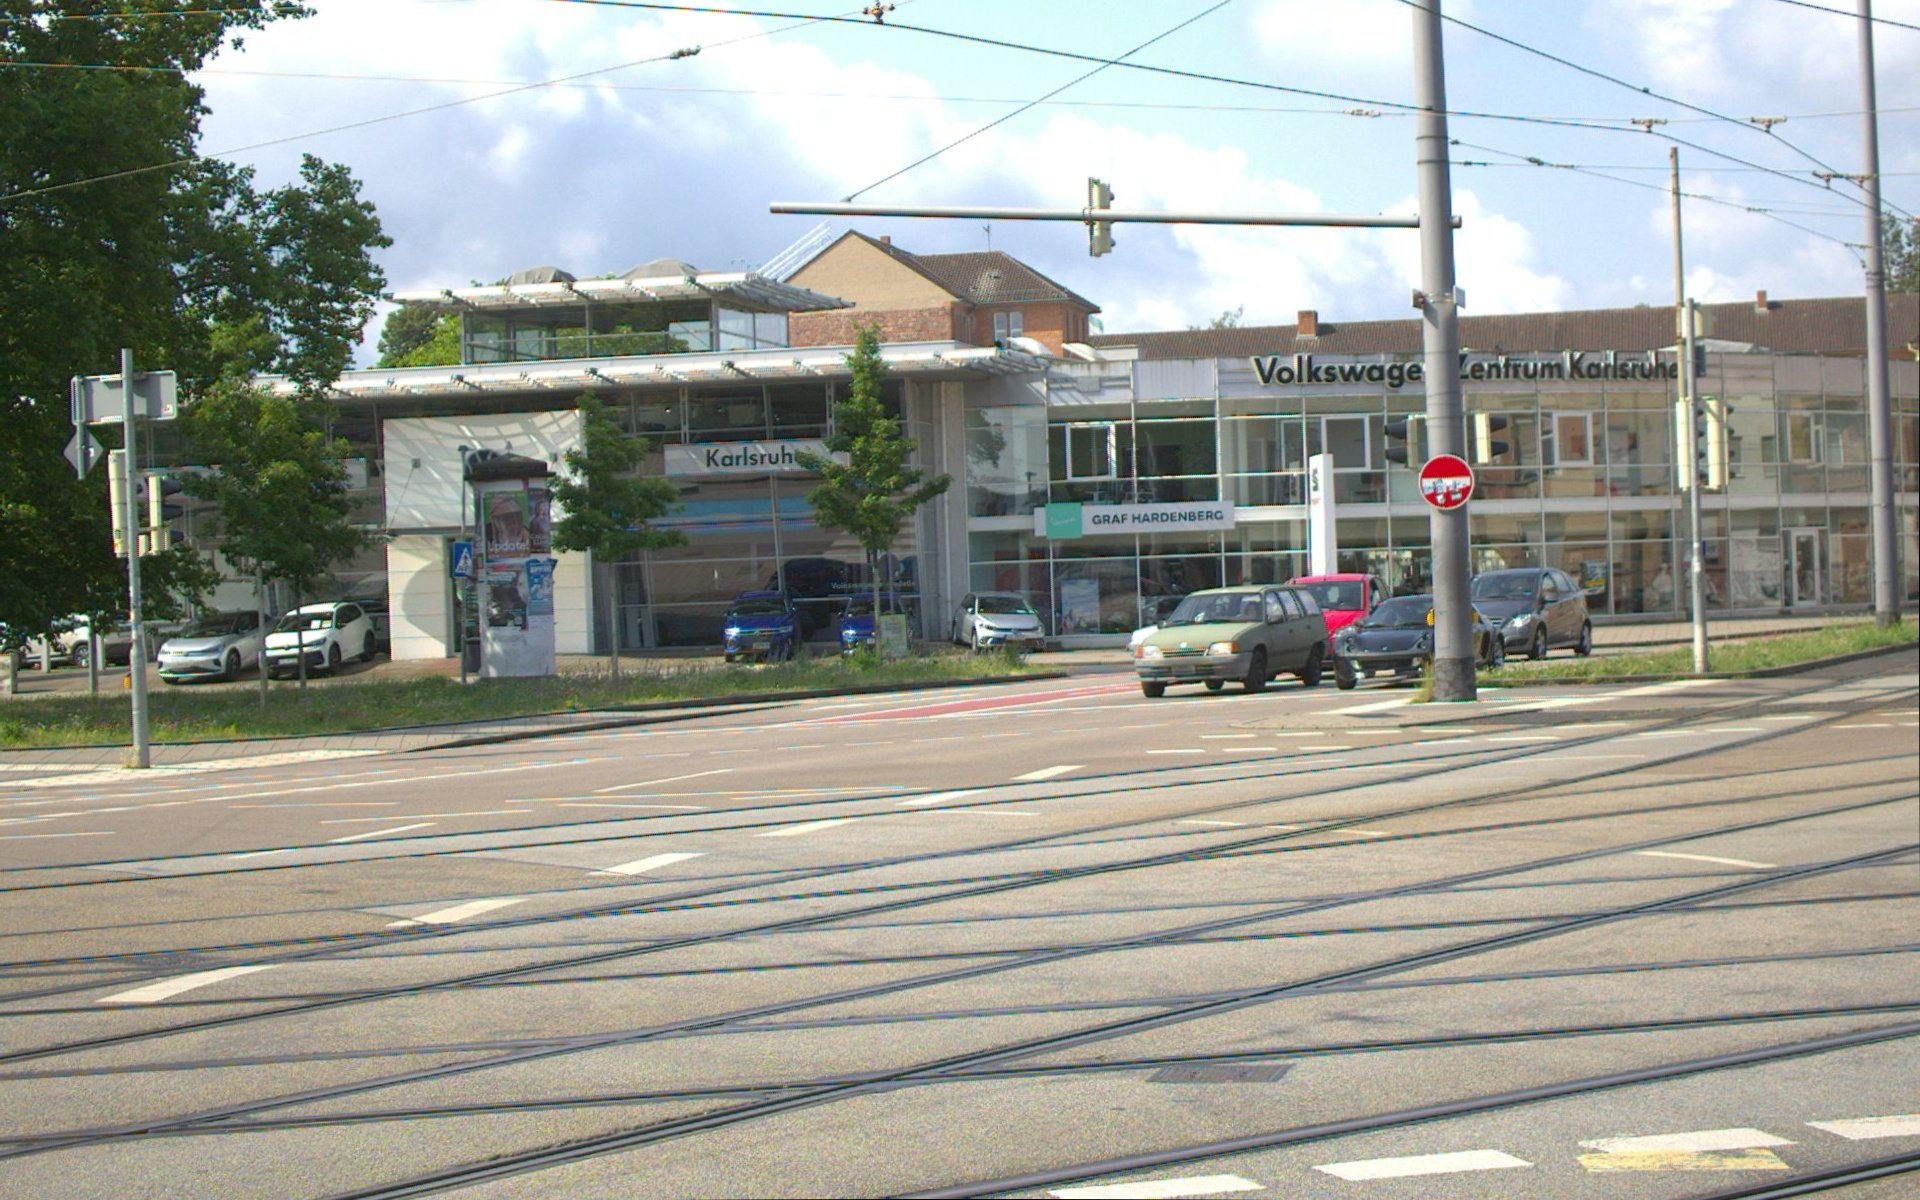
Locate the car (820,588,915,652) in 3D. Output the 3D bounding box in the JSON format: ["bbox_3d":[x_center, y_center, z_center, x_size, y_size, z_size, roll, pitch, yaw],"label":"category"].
[{"bbox_3d":[-2.238,0.467,84.057,1.920,1.440,3.999,-2,0,4],"label":"car"}]

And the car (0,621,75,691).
[{"bbox_3d":[-24.181,1.431,88.669,1.681,1.590,4.000,1,1,0],"label":"car"}]

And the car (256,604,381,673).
[{"bbox_3d":[-16.238,0.950,87.266,2.068,1.598,3.999,-2,0,5],"label":"car"}]

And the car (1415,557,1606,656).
[{"bbox_3d":[9.478,0.096,58.925,1.996,1.547,3.994,-2,0,28],"label":"car"}]

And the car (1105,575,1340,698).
[{"bbox_3d":[3.567,0.448,46.133,1.823,1.508,3.995,2,1,25],"label":"car"}]

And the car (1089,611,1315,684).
[{"bbox_3d":[5.215,1.008,73.842,4.537,1.349,1.999,2,1,13],"label":"car"}]

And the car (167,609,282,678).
[{"bbox_3d":[-18.741,1.092,87.751,1.993,1.568,4.000,1,1,1],"label":"car"}]

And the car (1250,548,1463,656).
[{"bbox_3d":[6.015,0.001,51.763,1.996,1.514,3.995,2,1,25],"label":"car"}]

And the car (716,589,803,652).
[{"bbox_3d":[-4.916,0.477,84.700,1.919,1.440,4.000,-2,0,-1],"label":"car"}]

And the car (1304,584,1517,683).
[{"bbox_3d":[5.965,0.412,45.200,1.623,1.157,3.995,2,2,25],"label":"car"}]

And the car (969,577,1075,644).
[{"bbox_3d":[1.562,0.246,85.321,1.920,1.547,3.998,-2,0,11],"label":"car"}]
